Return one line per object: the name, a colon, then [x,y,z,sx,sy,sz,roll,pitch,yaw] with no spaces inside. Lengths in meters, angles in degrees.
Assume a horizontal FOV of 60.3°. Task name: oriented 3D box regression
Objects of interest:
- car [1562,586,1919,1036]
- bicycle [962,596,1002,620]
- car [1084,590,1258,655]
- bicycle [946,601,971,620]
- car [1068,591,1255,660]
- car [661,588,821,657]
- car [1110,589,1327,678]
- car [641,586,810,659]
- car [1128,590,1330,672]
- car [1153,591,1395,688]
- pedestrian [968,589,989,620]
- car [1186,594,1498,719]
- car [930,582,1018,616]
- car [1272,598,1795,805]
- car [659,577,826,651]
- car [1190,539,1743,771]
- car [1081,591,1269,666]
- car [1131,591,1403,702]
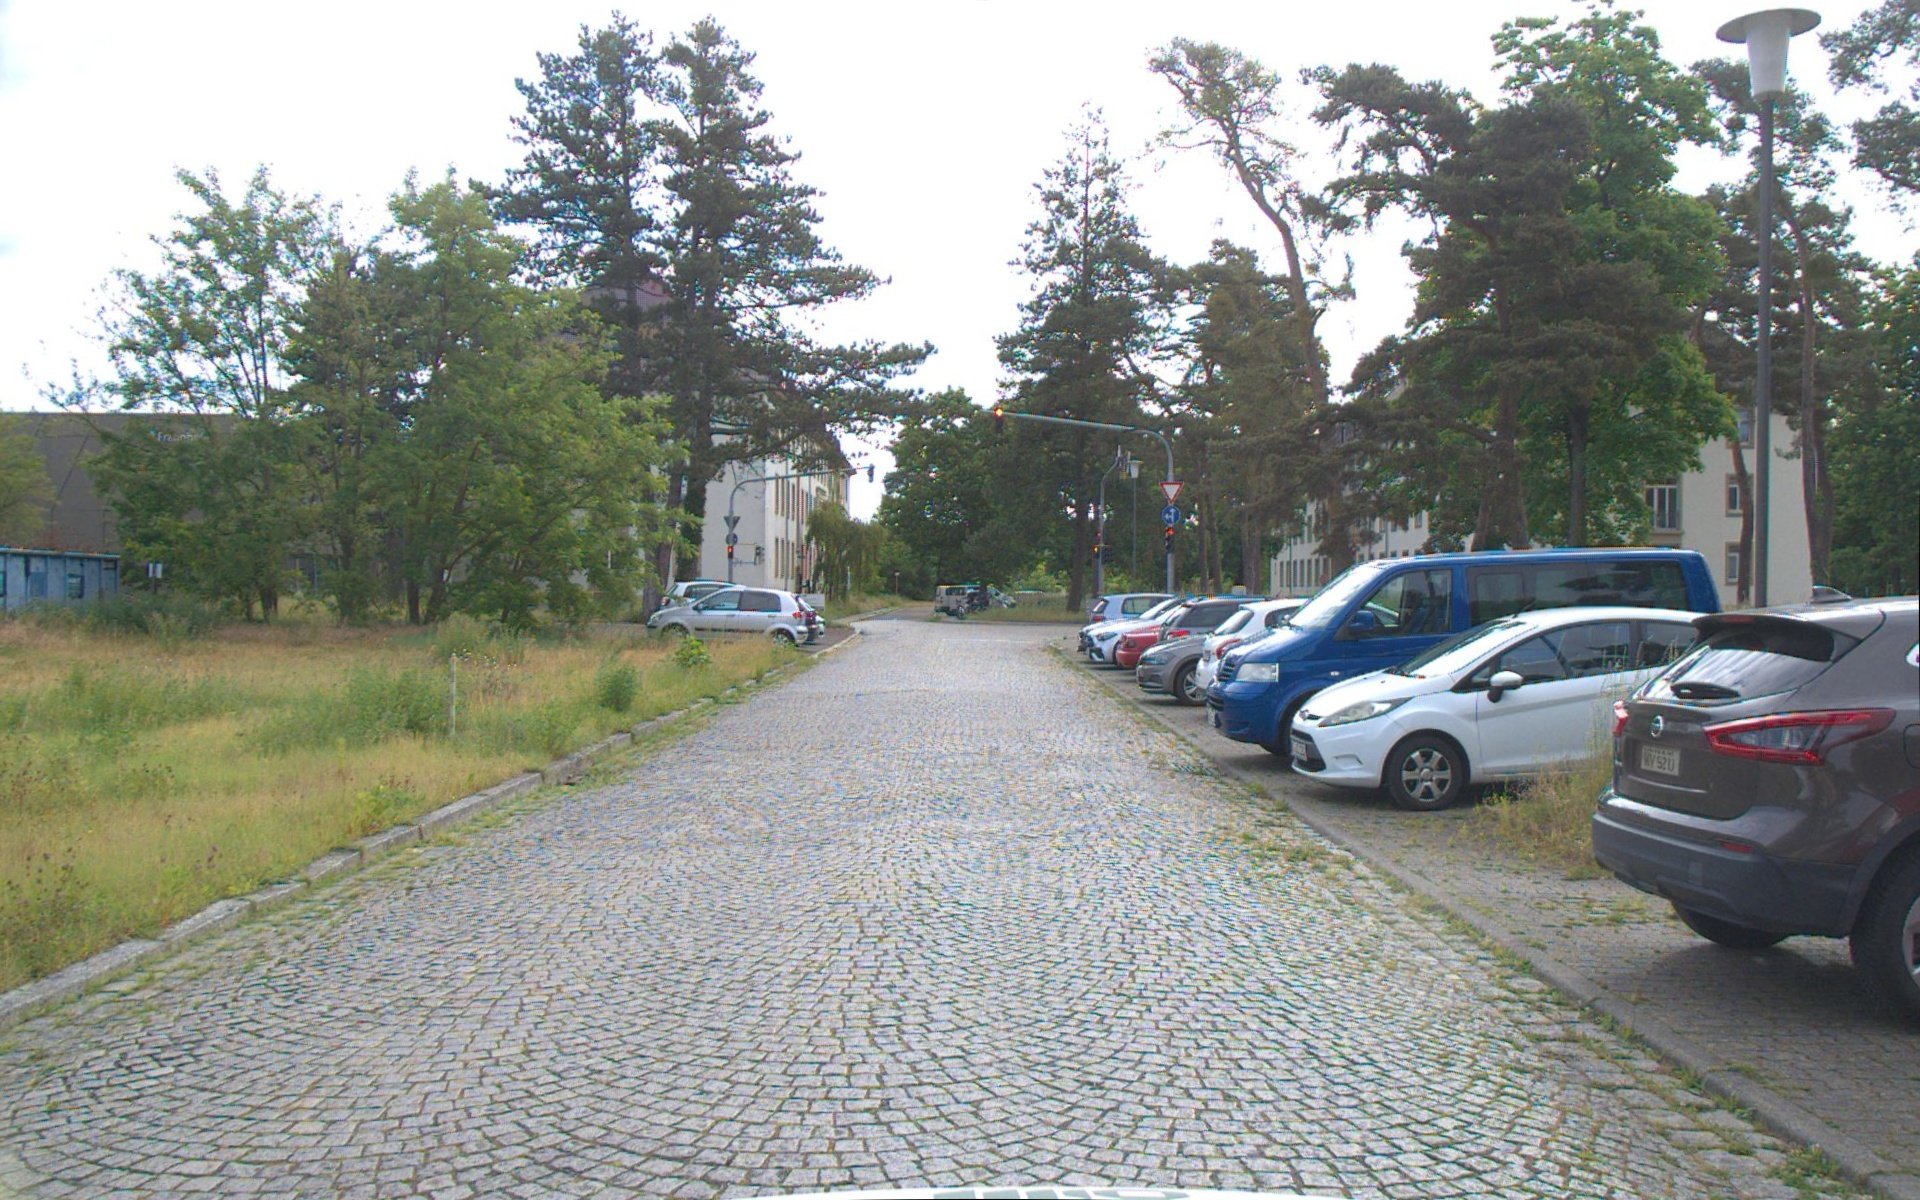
car: [4.789,0.719,6.830,3.948,1.579,1.750,-1,0,-3]
bicycle: [1.179,0.441,88.495,2.095,1.236,0.621,1,0,-5]
car: [5.016,0.527,39.596,3.890,1.446,1.618,-1,0,-5]
bicycle: [-0.083,0.533,84.417,0.613,0.961,1.648,1,0,-28]
car: [4.468,0.555,36.941,3.890,1.446,1.618,-1,0,-5]
car: [-5.368,0.543,40.867,3.744,1.600,1.564,-1,0,-1]
car: [4.568,0.581,29.549,3.598,1.475,1.523,-1,0,-2]
car: [-5.399,0.515,38.450,3.746,1.600,1.563,-1,0,-4]
car: [5.135,0.578,31.838,3.598,1.475,1.523,-1,0,-2]
car: [5.049,0.618,26.847,3.598,1.475,1.523,-1,0,-2]
pedestrian: [0.985,0.227,88.836,1.013,1.642,0.757,1,0,-5]
car: [4.803,0.693,21.078,3.598,1.475,1.523,-1,0,-2]
car: [0.878,-0.066,106.402,5.346,2.049,2.264,1,0,-10]
car: [4.464,0.755,13.204,3.598,1.475,1.614,-1,0,-3]
car: [-5.724,0.363,43.852,4.175,1.873,1.743,-1,0,-1]
car: [4.693,0.487,15.799,4.659,1.989,1.930,-1,0,-2]
car: [4.397,0.562,34.085,3.600,1.446,1.522,-1,0,-5]
car: [4.376,0.644,23.854,3.598,1.475,1.523,-1,0,-2]
